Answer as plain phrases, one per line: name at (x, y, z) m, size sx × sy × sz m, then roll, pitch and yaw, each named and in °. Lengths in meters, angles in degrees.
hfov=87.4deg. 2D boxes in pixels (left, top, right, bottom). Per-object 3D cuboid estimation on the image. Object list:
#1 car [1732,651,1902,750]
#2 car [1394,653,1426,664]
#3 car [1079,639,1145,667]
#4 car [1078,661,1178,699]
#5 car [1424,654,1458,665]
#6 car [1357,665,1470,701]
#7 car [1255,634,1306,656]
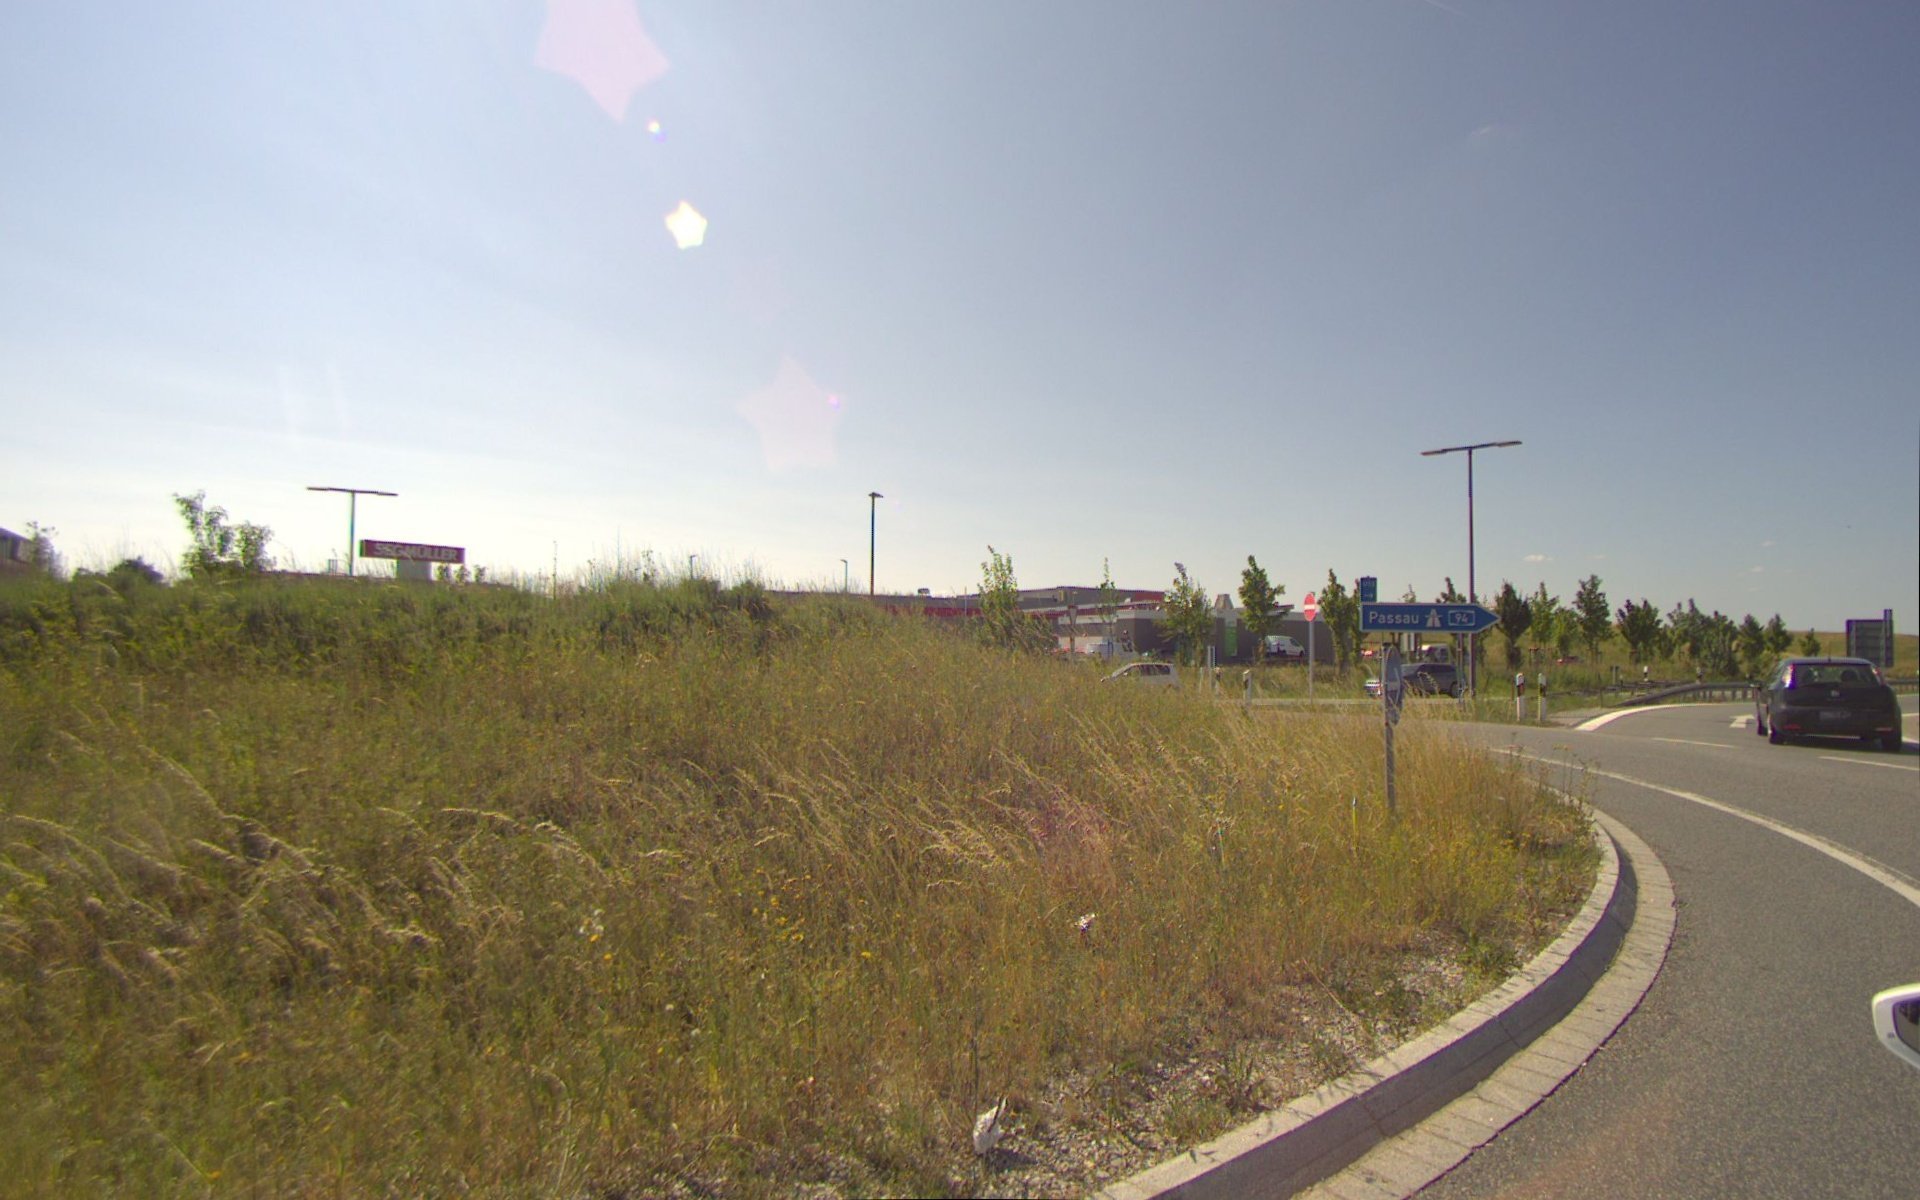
car at (14.923, 1.675, 17.694) m, size 1.616 × 1.507 × 3.897 m, roll 0°, pitch -3°, yaw 31°
car at (44.545, 5.769, 99.506) m, size 1.236 × 1.022 × 2.679 m, roll 2°, pitch -4°, yaw -39°
car at (11.624, 4.060, 76.770) m, size 5.087 × 2.040 × 1.980 m, roll 2°, pitch -3°, yaw -36°
car at (6.560, 3.109, 39.423) m, size 3.516 × 1.432 × 1.692 m, roll 1°, pitch -3°, yaw -8°
car at (47.223, 5.811, 98.639) m, size 1.371 × 1.022 × 2.679 m, roll 2°, pitch -4°, yaw -39°
car at (18.911, 3.431, 41.922) m, size 4.297 × 1.432 × 1.687 m, roll 1°, pitch -3°, yaw -18°
car at (26.002, 3.634, 81.438) m, size 3.959 × 1.754 × 1.981 m, roll 2°, pitch -3°, yaw -34°
